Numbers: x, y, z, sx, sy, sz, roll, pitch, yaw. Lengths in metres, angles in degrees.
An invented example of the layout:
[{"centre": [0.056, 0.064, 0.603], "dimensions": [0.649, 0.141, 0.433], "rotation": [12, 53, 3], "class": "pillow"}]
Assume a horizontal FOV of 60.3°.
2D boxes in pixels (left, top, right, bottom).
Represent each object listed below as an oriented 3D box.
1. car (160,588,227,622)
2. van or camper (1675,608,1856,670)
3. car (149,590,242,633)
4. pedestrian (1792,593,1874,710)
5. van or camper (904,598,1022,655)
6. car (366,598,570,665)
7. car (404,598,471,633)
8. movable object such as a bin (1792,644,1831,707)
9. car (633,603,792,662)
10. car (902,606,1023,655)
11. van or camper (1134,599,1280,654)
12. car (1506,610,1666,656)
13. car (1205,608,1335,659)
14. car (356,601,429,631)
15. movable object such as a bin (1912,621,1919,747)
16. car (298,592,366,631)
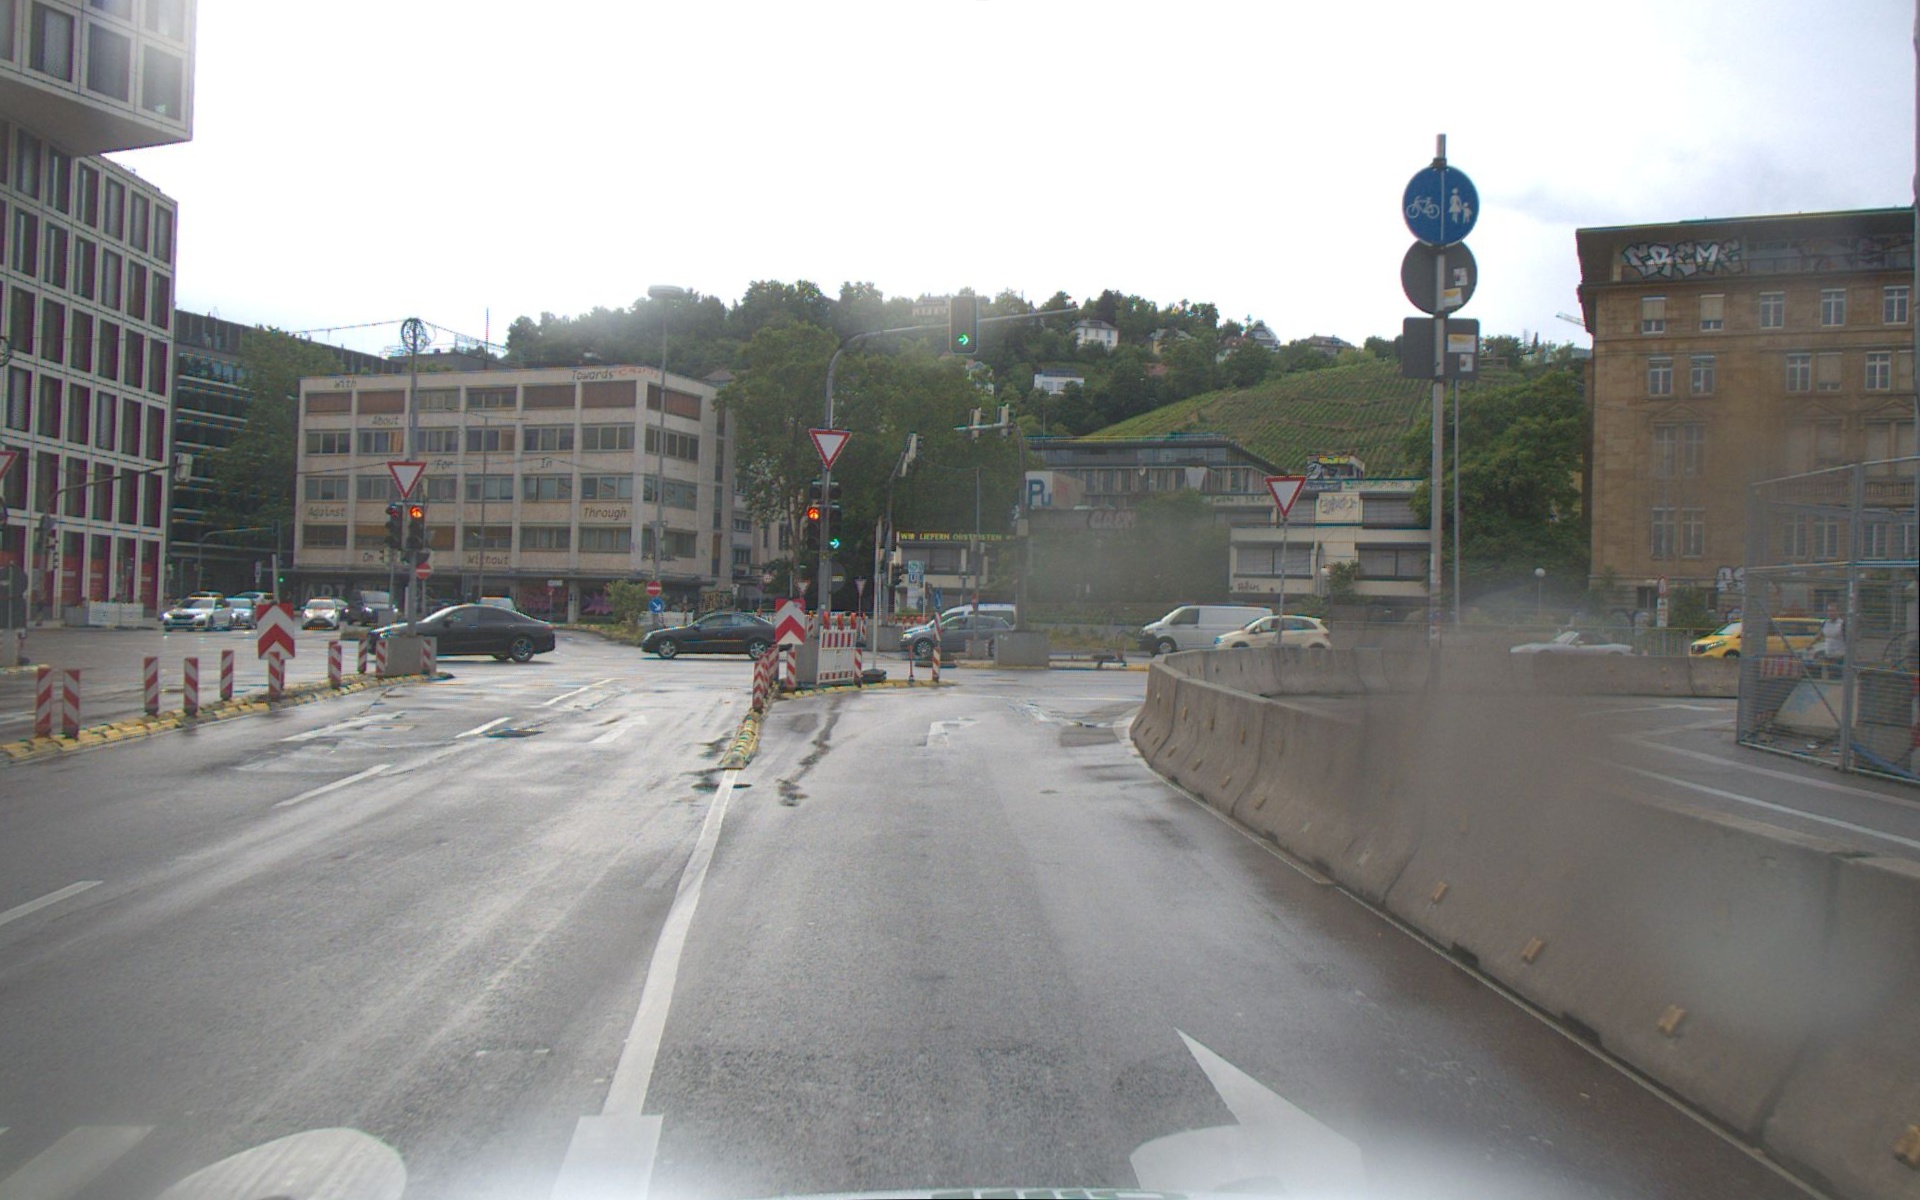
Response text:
[{"centre": [-44.412, 0.265, 95.864], "dimensions": [3.919, 1.847, 1.799], "rotation": [1, 0, 35], "class": "car"}, {"centre": [29.105, 1.403, 59.891], "dimensions": [5.477, 2.090, 2.245], "rotation": [1, 0, -3], "class": "van or camper"}, {"centre": [-33.385, 0.525, 72.405], "dimensions": [2.179, 1.784, 4.807], "rotation": [1, -1, -5], "class": "car"}, {"centre": [14.576, 0.851, 27.608], "dimensions": [0.772, 1.898, 0.988], "rotation": [1, -1, -41], "class": "pedestrian"}, {"centre": [0.092, 0.977, 61.442], "dimensions": [4.160, 2.013, 1.849], "rotation": [1, 0, -6], "class": "van or camper"}, {"centre": [-12.484, 0.803, 42.068], "dimensions": [4.604, 1.626, 1.996], "rotation": [1, 0, -33], "class": "car"}, {"centre": [-34.514, 1.030, 109.229], "dimensions": [3.913, 2.049, 1.996], "rotation": [2, -1, 30], "class": "car"}, {"centre": [14.494, 1.280, 28.164], "dimensions": [0.518, 1.034, 0.425], "rotation": [1, -1, -42], "class": "movable object such as a bin"}, {"centre": [-7.361, 0.965, 49.617], "dimensions": [4.558, 1.626, 2.016], "rotation": [1, 0, -6], "class": "car"}, {"centre": [0.057, 1.053, 58.400], "dimensions": [4.087, 1.626, 1.849], "rotation": [1, 0, -6], "class": "car"}, {"centre": [9.252, 0.977, 62.068], "dimensions": [5.095, 1.927, 1.885], "rotation": [1, 0, -6], "class": "van or camper"}, {"centre": [19.596, 1.014, 51.840], "dimensions": [4.425, 1.332, 1.641], "rotation": [1, 0, -4], "class": "car"}, {"centre": [11.023, 1.183, 59.032], "dimensions": [4.277, 1.703, 1.847], "rotation": [1, 0, -1], "class": "car"}, {"centre": [-30.706, 0.858, 89.407], "dimensions": [3.922, 1.584, 1.882], "rotation": [0, -1, 38], "class": "car"}, {"centre": [12.329, 0.976, 19.189], "dimensions": [1.850, 1.497, 1.188], "rotation": [-1, -1, 1], "class": "movable object such as a bin"}, {"centre": [-31.052, 0.551, 81.855], "dimensions": [1.763, 1.847, 4.000], "rotation": [1, 0, 1], "class": "car"}]
